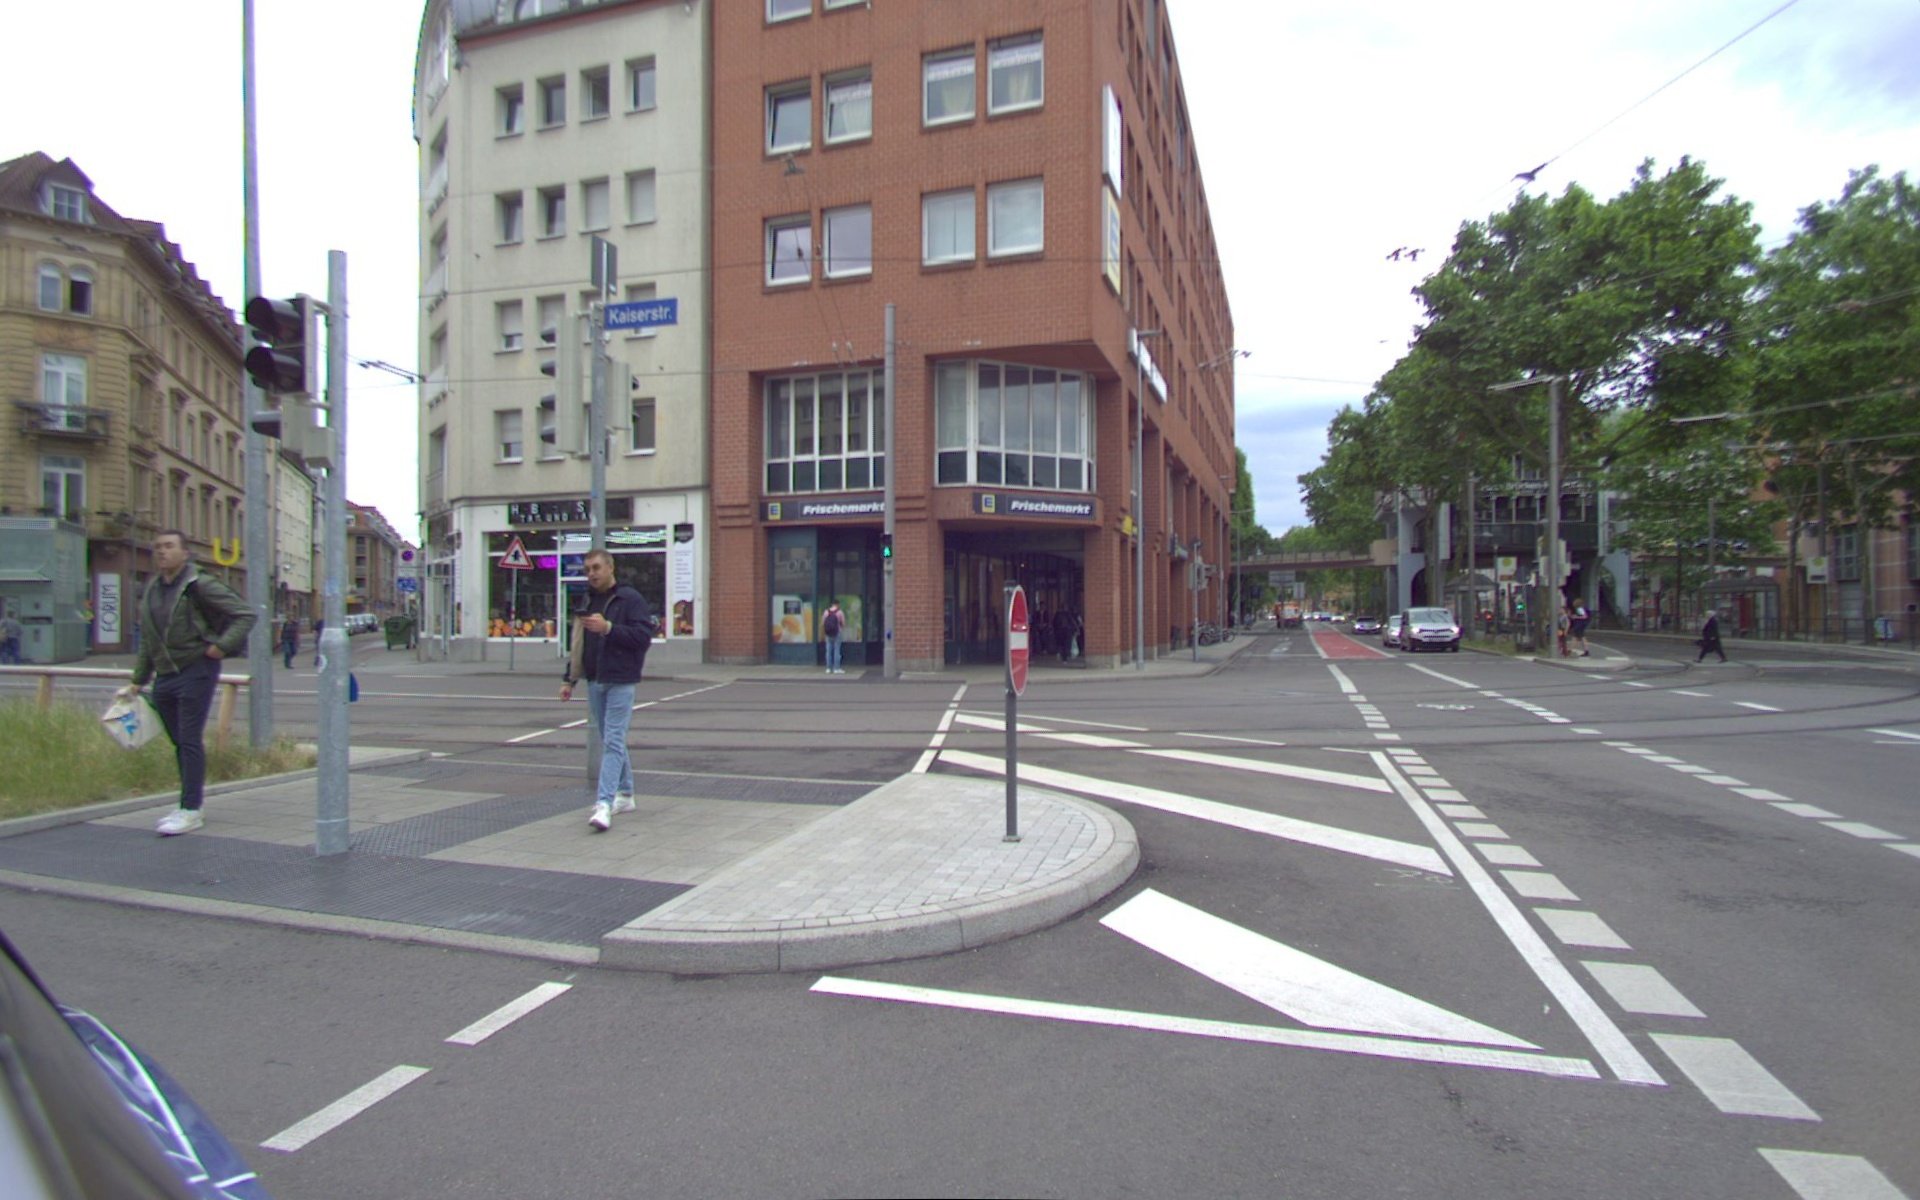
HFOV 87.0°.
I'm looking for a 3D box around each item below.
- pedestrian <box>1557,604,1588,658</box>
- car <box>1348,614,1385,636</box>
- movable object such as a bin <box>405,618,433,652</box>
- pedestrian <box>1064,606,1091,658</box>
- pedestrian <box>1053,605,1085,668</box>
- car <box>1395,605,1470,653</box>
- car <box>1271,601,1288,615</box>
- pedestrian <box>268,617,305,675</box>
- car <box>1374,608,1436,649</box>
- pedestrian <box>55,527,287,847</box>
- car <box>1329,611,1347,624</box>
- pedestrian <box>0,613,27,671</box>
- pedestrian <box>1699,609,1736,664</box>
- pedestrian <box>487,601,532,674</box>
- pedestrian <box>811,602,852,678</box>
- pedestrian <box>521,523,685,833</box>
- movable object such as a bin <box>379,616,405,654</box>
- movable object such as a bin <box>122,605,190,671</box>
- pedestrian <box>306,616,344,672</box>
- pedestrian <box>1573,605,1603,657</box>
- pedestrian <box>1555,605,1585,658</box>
[{"bbox_3d":[18.518,0.928,30.606,0.623,1.586,0.572,1,0,11],"label":"pedestrian"},{"bbox_3d":[29.674,1.841,74.008,1.909,1.575,3.853,-1,-1,13],"label":"car"},{"bbox_3d":[-23.096,1.487,43.177,0.993,1.416,1.243,-1,0,-30],"label":"movable object such as a bin"},{"bbox_3d":[3.940,1.066,33.960,0.791,1.696,0.742,0,1,15],"label":"pedestrian"},{"bbox_3d":[3.057,1.011,28.404,0.791,1.696,0.742,0,1,15],"label":"pedestrian"},{"bbox_3d":[18.818,1.136,40.506,1.909,1.807,3.983,-1,-1,13],"label":"car"},{"bbox_3d":[41.456,1.056,131.314,1.914,1.807,3.682,-1,-1,20],"label":"car"},{"bbox_3d":[-20.224,1.375,30.394,0.721,1.700,0.654,0,-1,34],"label":"pedestrian"},{"bbox_3d":[20.575,1.286,46.905,1.909,1.807,3.983,-1,-1,13],"label":"car"},{"bbox_3d":[-5.081,0.510,6.563,0.792,1.904,0.895,0,1,17],"label":"pedestrian"},{"bbox_3d":[47.305,2.181,126.668,1.662,1.559,3.690,-1,-1,13],"label":"car"},{"bbox_3d":[-28.589,1.243,30.294,0.721,1.700,0.815,0,-1,36],"label":"pedestrian"},{"bbox_3d":[22.404,1.074,29.953,0.740,1.572,0.569,1,0,24],"label":"pedestrian"},{"bbox_3d":[-10.733,0.884,24.132,0.714,1.700,0.661,1,-1,7],"label":"pedestrian"},{"bbox_3d":[-2.961,0.910,23.349,0.791,1.696,0.568,0,1,15],"label":"pedestrian"},{"bbox_3d":[-2.321,0.477,6.621,0.792,1.904,0.609,0,-1,17],"label":"pedestrian"},{"bbox_3d":[-24.012,1.467,42.746,0.930,1.512,1.243,-1,0,-30],"label":"movable object such as a bin"},{"bbox_3d":[-25.275,1.177,31.809,1.608,1.996,1.025,1,-1,26],"label":"movable object such as a bin"},{"bbox_3d":[-19.610,1.342,31.248,0.921,1.700,0.654,0,-1,34],"label":"pedestrian"},{"bbox_3d":[20.073,0.978,32.347,0.623,1.624,0.572,1,0,11],"label":"pedestrian"},{"bbox_3d":[19.260,0.988,31.958,0.623,1.624,0.572,1,0,11],"label":"pedestrian"}]
